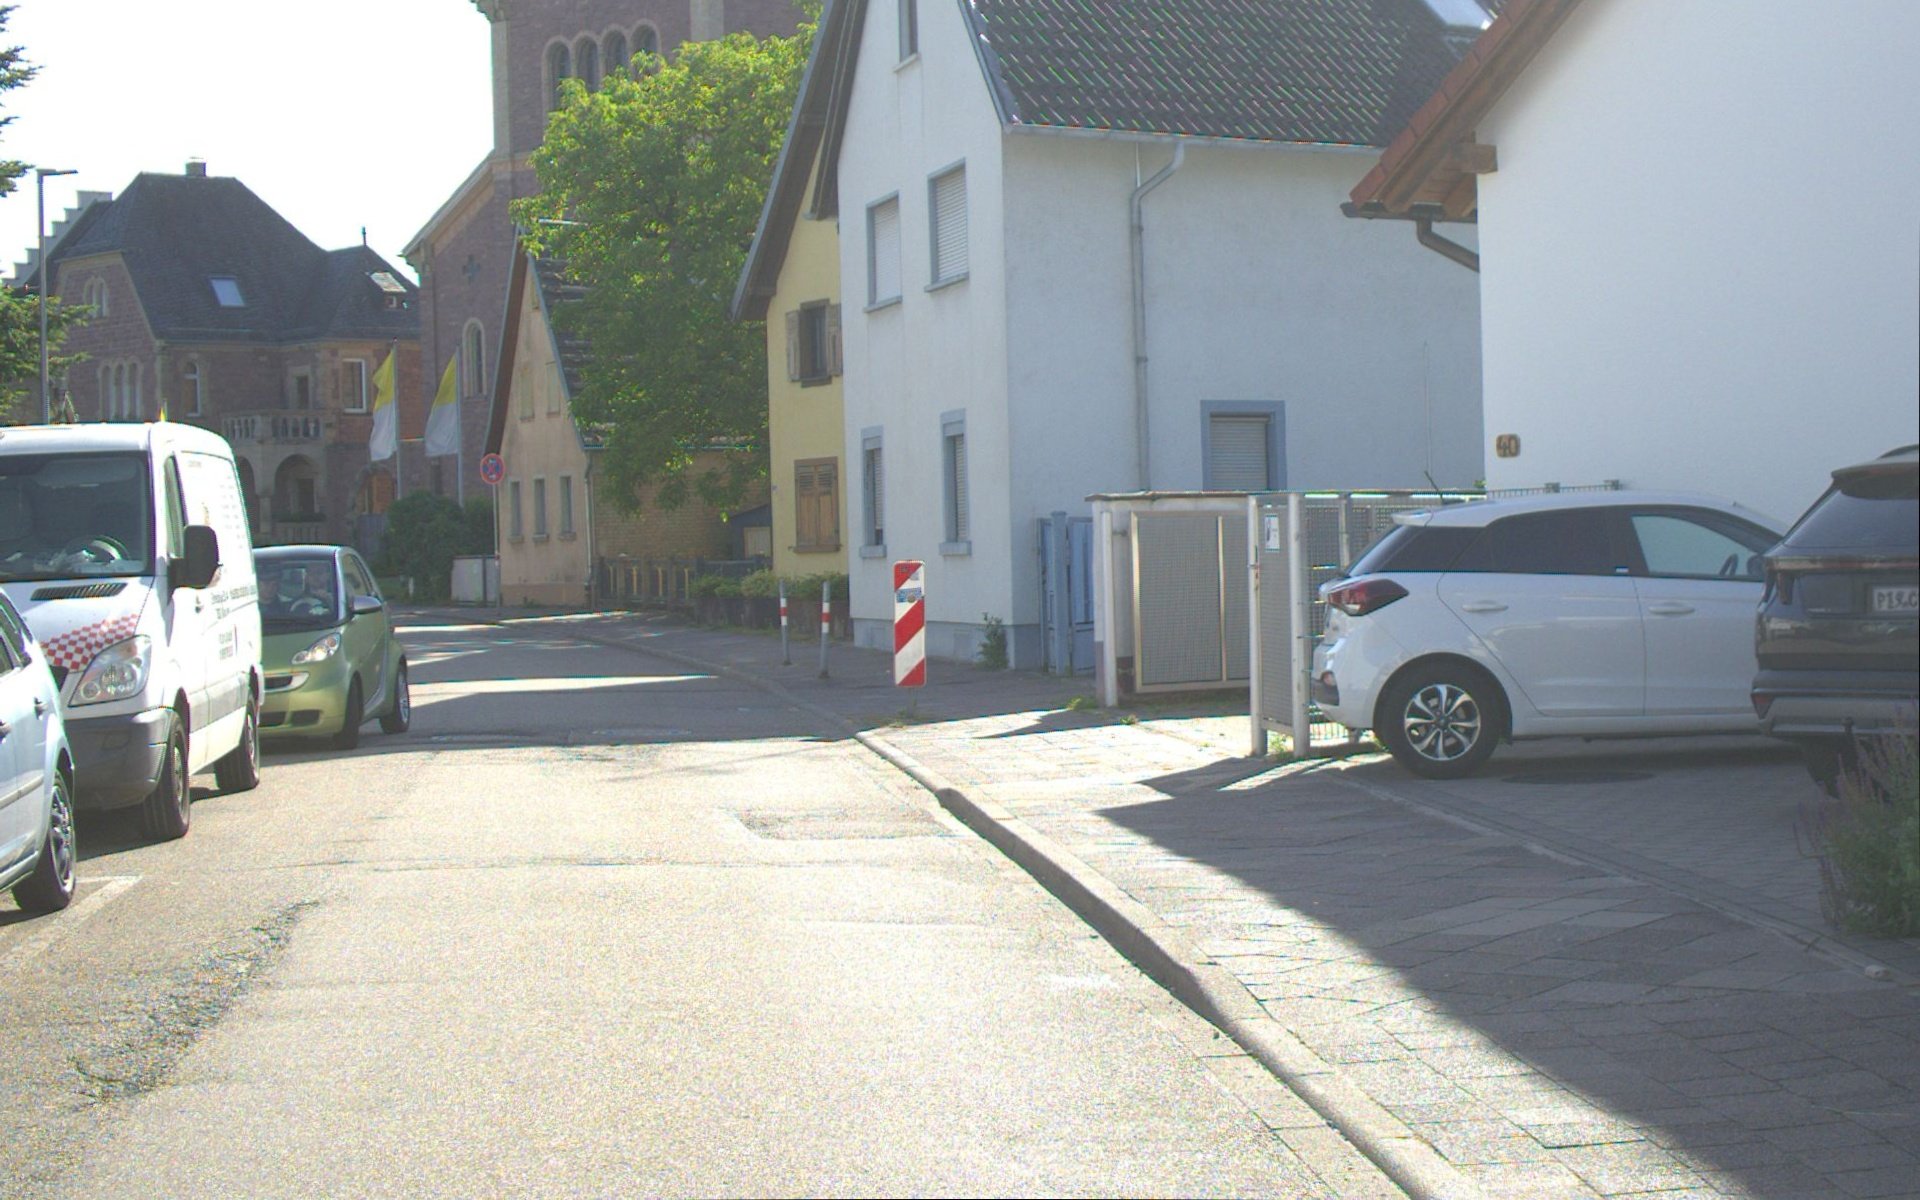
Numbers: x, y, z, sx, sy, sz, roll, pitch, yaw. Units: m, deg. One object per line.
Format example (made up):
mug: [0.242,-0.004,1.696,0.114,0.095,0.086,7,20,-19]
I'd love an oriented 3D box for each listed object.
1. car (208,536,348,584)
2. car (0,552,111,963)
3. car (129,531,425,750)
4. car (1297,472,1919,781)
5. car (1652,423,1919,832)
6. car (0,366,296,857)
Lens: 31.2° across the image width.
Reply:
car: [-22.325,-1.319,112.579,1.717,1.396,4.237,-1,2,44]
car: [-4.457,0.616,13.050,1.711,1.499,4.236,-3,1,-5]
car: [-5.192,0.265,26.440,1.574,1.541,2.965,-2,1,1]
car: [3.863,0.110,18.777,3.913,1.487,1.847,-2,1,4]
car: [5.333,0.021,15.680,4.037,1.682,1.912,-3,2,-33]
car: [-5.345,0.042,19.948,2.196,2.381,6.065,-3,1,-5]
